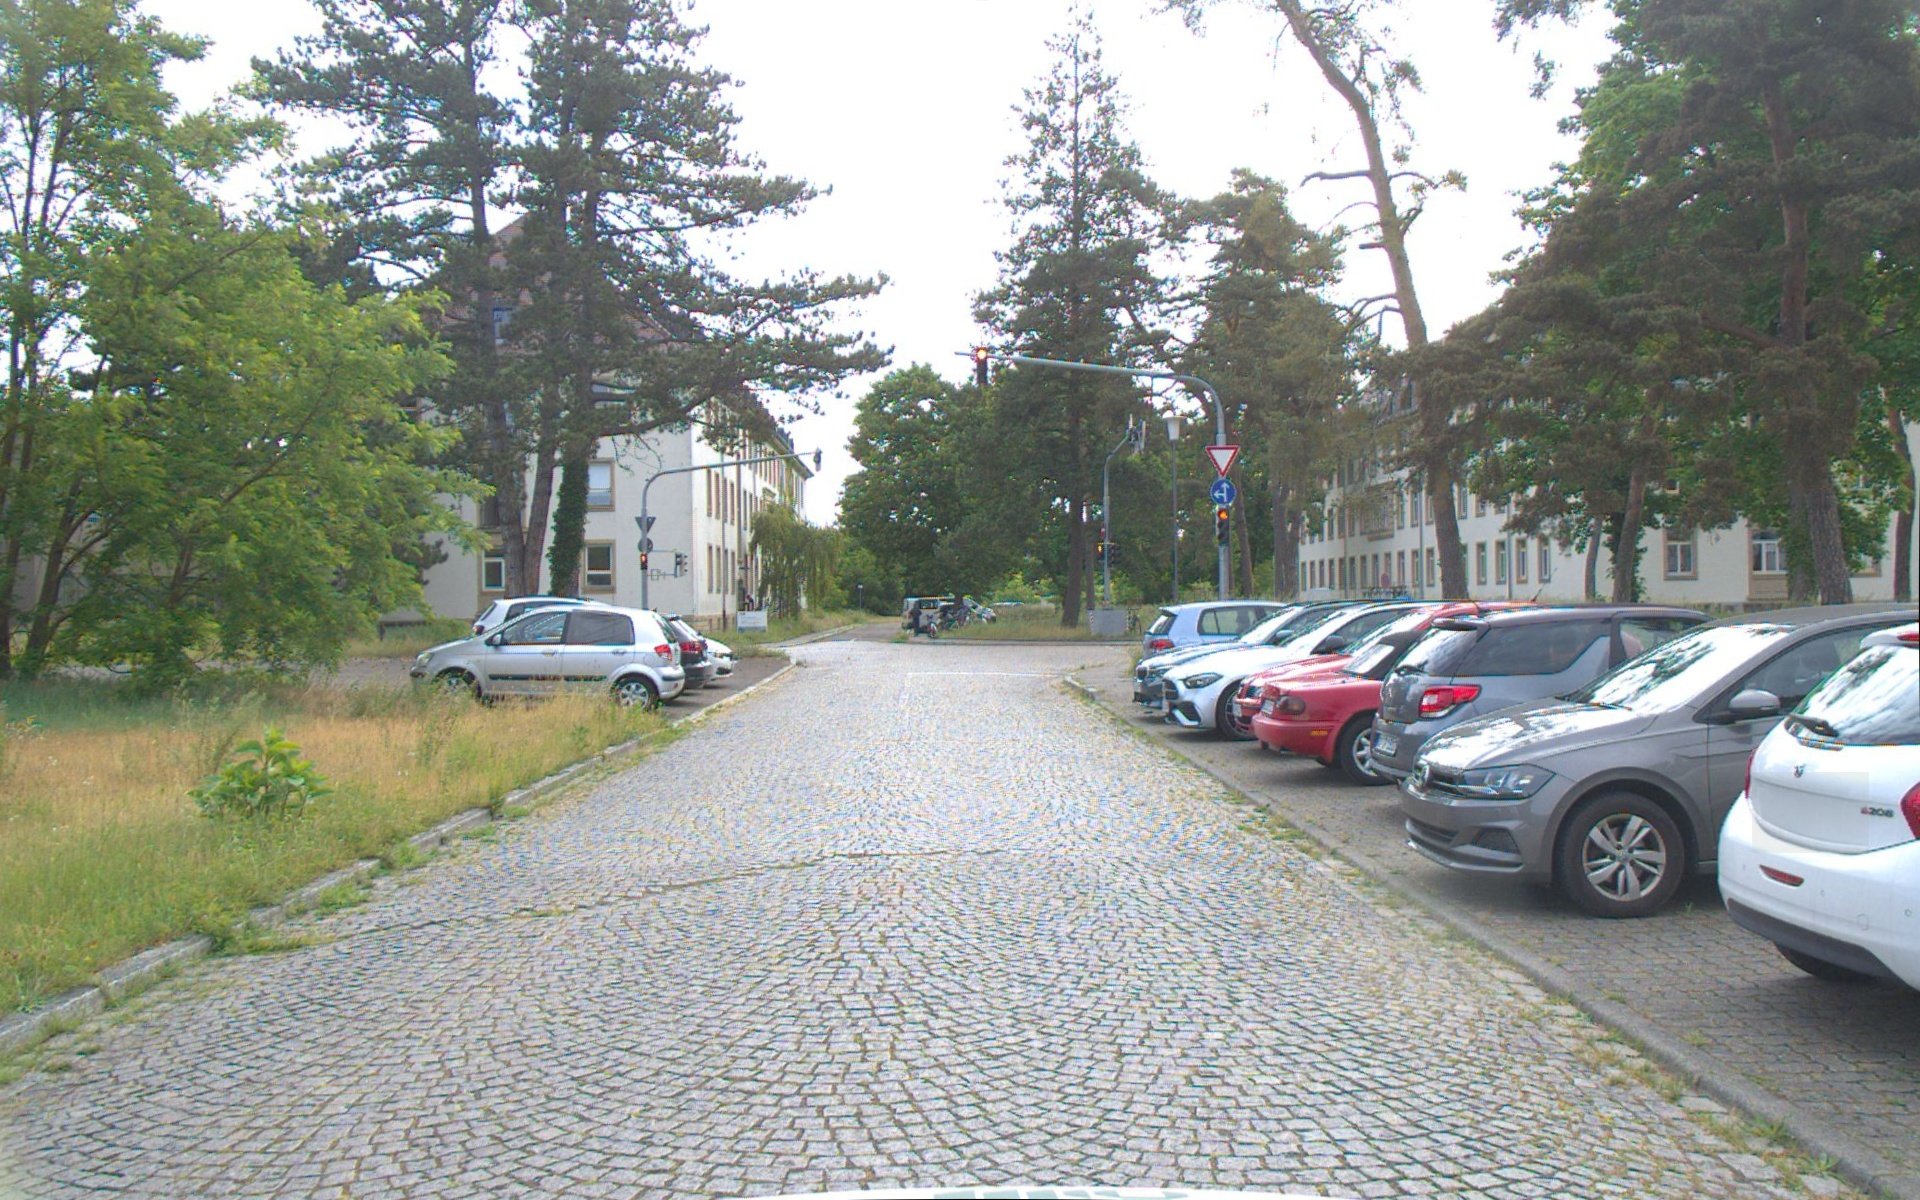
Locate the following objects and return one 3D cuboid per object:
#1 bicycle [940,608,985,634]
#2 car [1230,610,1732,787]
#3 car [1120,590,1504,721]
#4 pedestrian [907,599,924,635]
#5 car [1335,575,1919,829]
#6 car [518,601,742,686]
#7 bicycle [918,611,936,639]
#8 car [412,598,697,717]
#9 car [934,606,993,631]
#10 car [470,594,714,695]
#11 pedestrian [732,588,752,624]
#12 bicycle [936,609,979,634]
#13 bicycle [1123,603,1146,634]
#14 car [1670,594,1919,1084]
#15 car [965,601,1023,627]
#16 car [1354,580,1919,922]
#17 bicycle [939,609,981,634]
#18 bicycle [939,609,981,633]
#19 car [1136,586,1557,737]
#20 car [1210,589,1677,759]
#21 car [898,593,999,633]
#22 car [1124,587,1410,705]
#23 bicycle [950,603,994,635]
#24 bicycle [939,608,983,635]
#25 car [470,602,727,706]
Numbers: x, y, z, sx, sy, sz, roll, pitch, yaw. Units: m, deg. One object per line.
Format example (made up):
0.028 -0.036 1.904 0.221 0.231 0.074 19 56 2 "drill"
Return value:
0.110 0.924 73.048 1.918 1.152 0.587 -1 0 -8 "bicycle"
4.432 0.809 14.457 3.785 1.258 1.757 -3 0 -3 "car"
4.565 0.695 21.860 4.588 1.441 1.870 -3 0 -4 "car"
-2.049 0.779 76.226 0.724 1.647 0.776 -1 0 -4 "pedestrian"
4.805 0.662 11.799 3.785 1.498 1.757 -3 0 -3 "car"
-6.151 0.801 31.160 3.868 1.446 1.649 2 0 -2 "car"
-1.398 1.035 69.813 0.591 1.152 1.958 -1 0 -7 "bicycle"
-5.620 0.787 23.253 3.630 1.505 1.581 2 0 -4 "car"
0.154 0.977 87.755 2.948 1.290 1.533 -1 0 -7 "car"
-6.294 0.754 28.614 3.870 1.590 1.649 2 0 -4 "car"
-11.667 0.325 88.500 0.766 1.870 0.732 -1 0 -33 "pedestrian"
-0.101 0.981 75.159 1.935 1.088 0.582 -1 0 -31 "bicycle"
6.431 0.672 61.095 0.574 1.125 1.961 -1 0 -1 "bicycle"
4.879 0.684 6.026 3.783 1.498 1.758 -3 0 0 "car"
1.959 0.812 95.061 3.168 1.441 1.724 -1 0 -4 "car"
4.276 0.697 8.914 3.787 1.498 1.756 -3 0 -5 "car"
0.020 0.986 76.512 1.935 1.088 0.582 -1 0 -31 "bicycle"
0.016 0.976 77.867 1.931 1.088 0.583 -1 0 -26 "bicycle"
4.408 0.669 19.170 4.342 1.441 1.866 -3 0 -10 "car"
4.820 0.710 16.911 4.176 1.441 1.870 -3 0 -2 "car"
-0.639 0.717 91.117 5.264 1.958 2.020 -2 0 -10 "car"
4.438 0.649 24.309 3.847 1.503 1.642 -3 0 0 "car"
0.546 0.865 74.524 1.918 1.408 0.587 -1 0 -8 "bicycle"
0.035 0.951 73.679 1.918 1.136 0.587 -1 0 -8 "bicycle"
-5.579 0.826 25.852 3.672 1.453 1.581 2 0 -4 "car"
